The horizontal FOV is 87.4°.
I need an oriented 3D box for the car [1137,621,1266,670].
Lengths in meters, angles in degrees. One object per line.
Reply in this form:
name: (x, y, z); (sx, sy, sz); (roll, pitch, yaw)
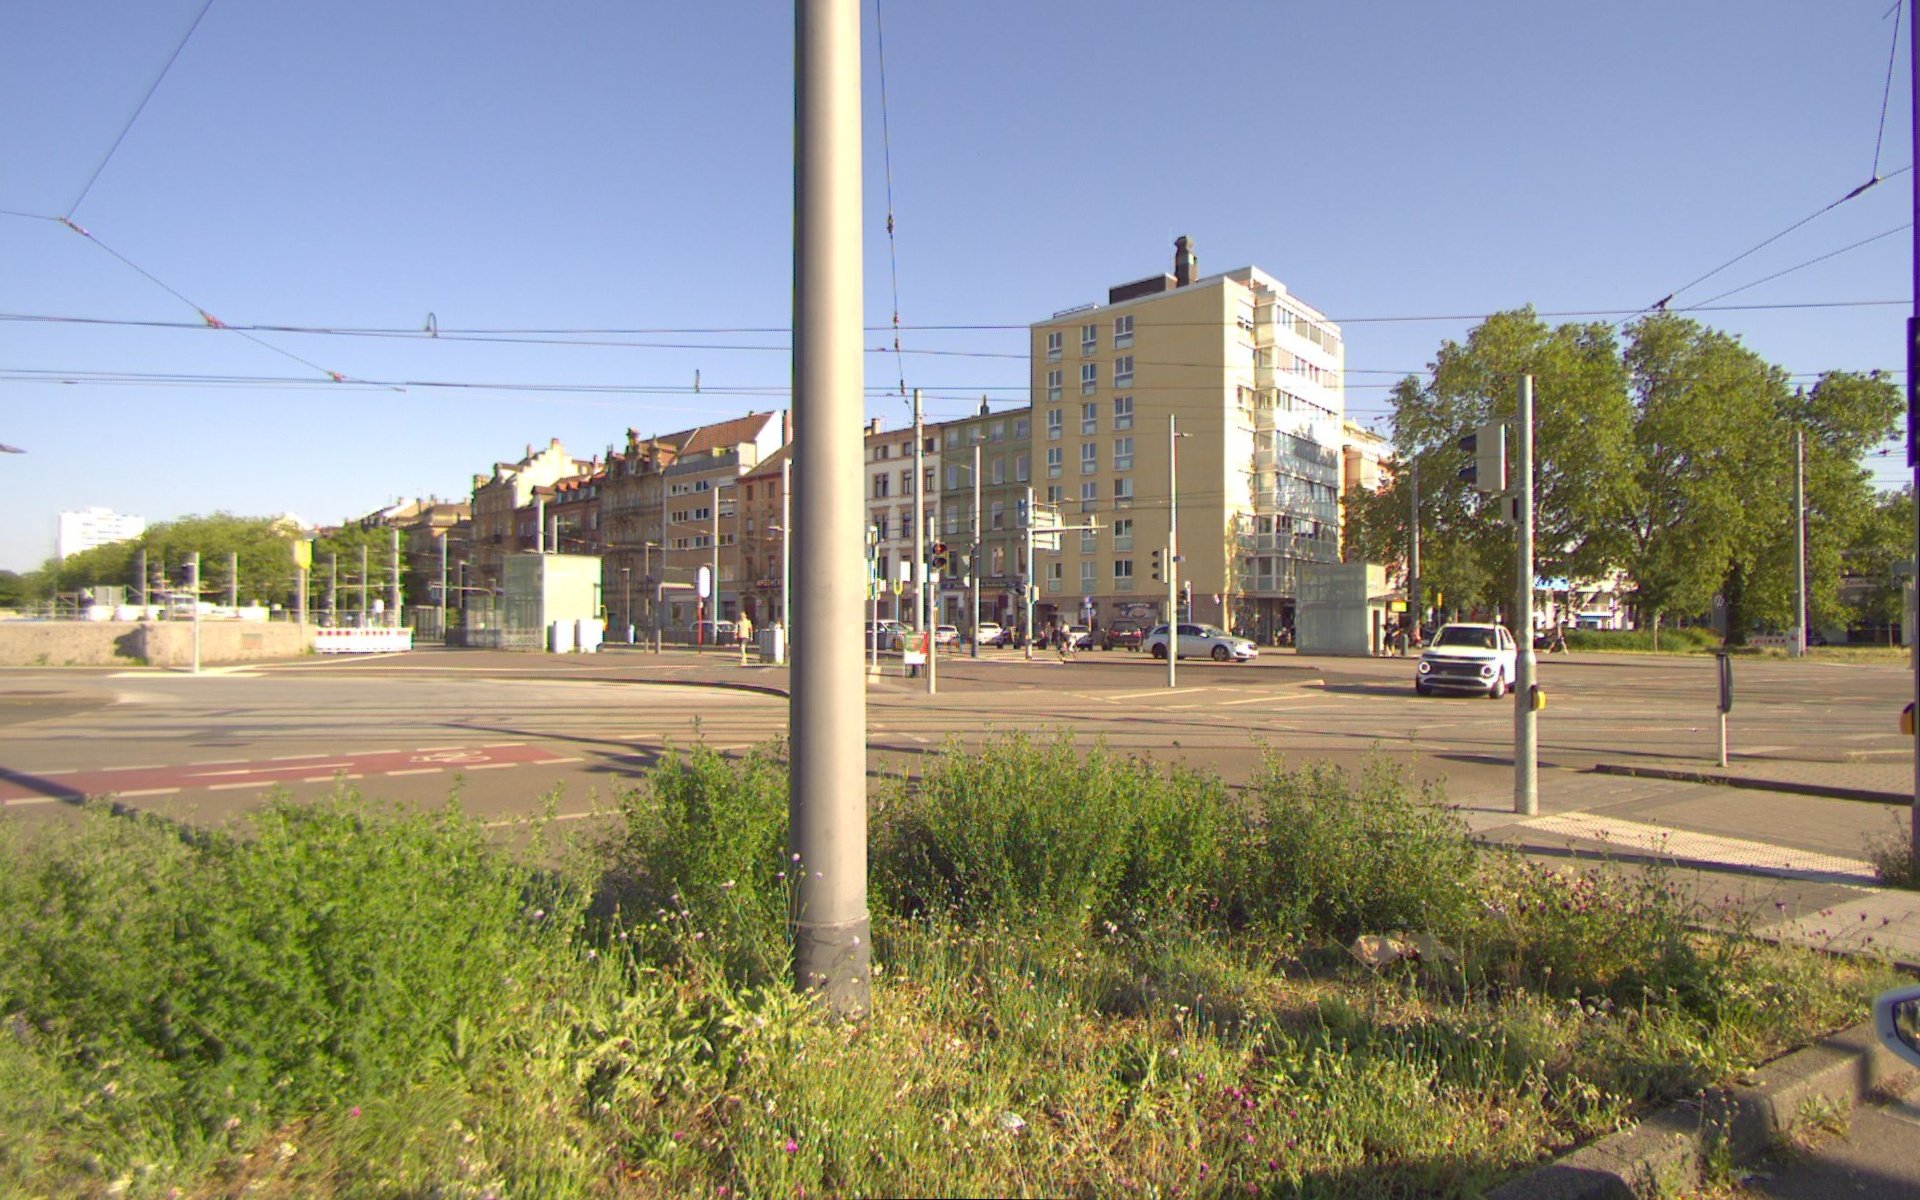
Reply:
car: (9.484, 1.748, 39.658); (4.648, 1.684, 1.778); (2, 0, 40)

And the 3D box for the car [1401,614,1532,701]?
car: (11.225, 1.206, 22.115); (1.759, 1.684, 3.983); (2, 0, 39)

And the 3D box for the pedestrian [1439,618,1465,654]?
pedestrian: (24.065, 1.755, 49.123); (0.747, 1.728, 0.793); (2, 0, -22)

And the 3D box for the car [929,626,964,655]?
car: (-0.859, 2.636, 66.318); (1.960, 1.728, 4.001); (2, 0, 4)

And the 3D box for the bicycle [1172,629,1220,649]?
bicycle: (14.933, 2.466, 63.648); (3.003, 1.167, 0.637); (1, 0, 44)

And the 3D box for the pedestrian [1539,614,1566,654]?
pedestrian: (28.813, 1.644, 48.848); (0.747, 1.911, 0.793); (2, 0, -22)

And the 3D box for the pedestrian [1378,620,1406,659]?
pedestrian: (19.459, 1.764, 45.254); (0.747, 1.728, 0.793); (2, 0, -22)

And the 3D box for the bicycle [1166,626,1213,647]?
bicycle: (14.414, 2.274, 63.217); (3.003, 1.167, 0.637); (1, 0, 44)

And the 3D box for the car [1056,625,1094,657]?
car: (6.744, 2.380, 59.338); (1.960, 1.728, 4.001); (2, 0, 4)

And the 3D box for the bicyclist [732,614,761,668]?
bicyclist: (-6.974, 1.321, 32.854); (0.653, 1.706, 0.980); (2, 0, 2)

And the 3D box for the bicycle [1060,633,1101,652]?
bicycle: (8.251, 2.907, 68.940); (3.003, 1.167, 0.637); (1, 0, 44)

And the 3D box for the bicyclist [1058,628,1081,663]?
bicyclist: (4.428, 1.824, 40.648); (0.617, 1.368, 0.658); (2, 0, 44)

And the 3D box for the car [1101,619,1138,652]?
car: (9.095, 1.977, 57.414); (1.684, 1.728, 4.001); (2, 0, 4)

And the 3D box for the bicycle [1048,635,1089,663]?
bicycle: (4.403, 1.973, 40.640); (0.617, 1.104, 1.914); (2, 0, 44)

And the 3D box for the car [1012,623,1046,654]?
car: (4.180, 2.313, 61.392); (1.960, 1.728, 4.001); (2, 0, 4)

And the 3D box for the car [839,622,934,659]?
car: (-3.780, 2.063, 51.428); (4.836, 1.848, 1.991); (-1, -3, 40)

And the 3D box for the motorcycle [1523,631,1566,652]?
motorcycle: (29.138, 2.058, 50.105); (1.753, 0.926, 0.676); (2, 0, 41)

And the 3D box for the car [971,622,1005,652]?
car: (1.827, 2.300, 63.941); (1.960, 1.728, 4.001); (2, 0, 4)
